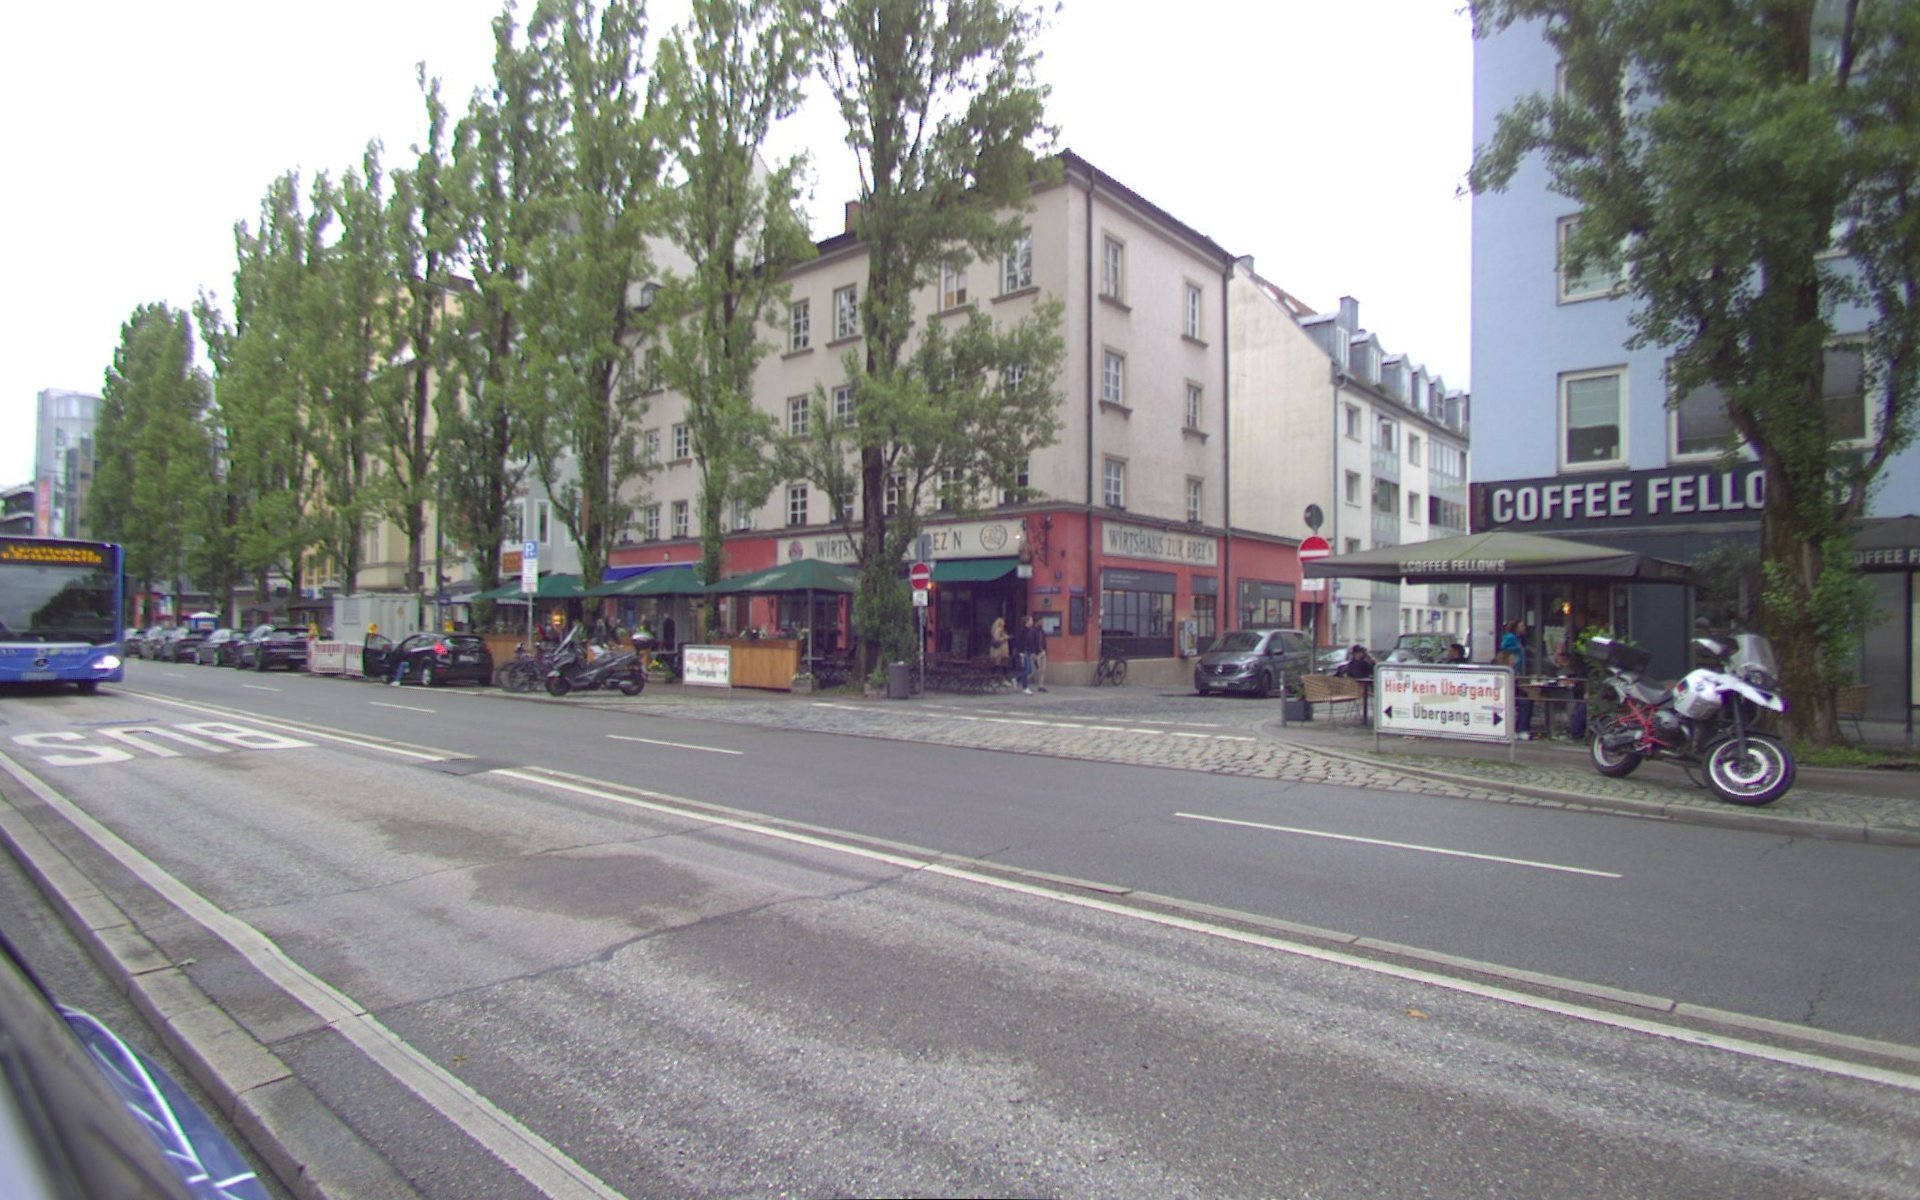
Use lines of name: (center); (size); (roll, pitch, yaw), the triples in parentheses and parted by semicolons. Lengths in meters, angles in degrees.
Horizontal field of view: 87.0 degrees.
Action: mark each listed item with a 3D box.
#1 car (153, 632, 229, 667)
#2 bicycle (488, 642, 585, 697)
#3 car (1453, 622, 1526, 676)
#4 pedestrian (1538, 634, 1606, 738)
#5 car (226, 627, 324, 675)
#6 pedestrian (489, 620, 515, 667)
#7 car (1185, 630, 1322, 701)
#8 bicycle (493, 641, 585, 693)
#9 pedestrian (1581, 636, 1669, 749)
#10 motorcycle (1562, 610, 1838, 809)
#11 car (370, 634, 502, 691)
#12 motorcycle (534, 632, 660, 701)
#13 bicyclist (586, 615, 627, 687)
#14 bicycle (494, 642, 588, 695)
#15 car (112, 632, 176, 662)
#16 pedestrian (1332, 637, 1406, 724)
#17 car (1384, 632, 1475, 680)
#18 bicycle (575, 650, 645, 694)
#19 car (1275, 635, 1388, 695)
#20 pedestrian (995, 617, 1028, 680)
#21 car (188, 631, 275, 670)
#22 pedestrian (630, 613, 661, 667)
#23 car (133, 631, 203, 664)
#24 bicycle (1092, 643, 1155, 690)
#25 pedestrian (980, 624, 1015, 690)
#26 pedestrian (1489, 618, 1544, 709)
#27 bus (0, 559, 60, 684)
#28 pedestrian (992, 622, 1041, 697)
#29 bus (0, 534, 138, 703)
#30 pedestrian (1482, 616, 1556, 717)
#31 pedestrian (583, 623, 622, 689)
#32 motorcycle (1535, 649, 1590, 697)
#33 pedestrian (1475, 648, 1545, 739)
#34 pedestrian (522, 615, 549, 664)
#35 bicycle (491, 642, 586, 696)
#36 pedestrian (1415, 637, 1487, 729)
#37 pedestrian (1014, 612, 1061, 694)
car: (-33.627, 2.129, 44.215); (4.572, 1.451, 1.778); (-2, -3, 42)
bicycle: (-9.329, 1.530, 22.345); (1.949, 1.134, 0.362); (-1, 0, -12)
car: (24.670, 2.299, 47.075); (1.982, 2.384, 4.523); (-2, -4, 42)
pedestrian: (8.421, 1.156, 13.920); (0.699, 1.373, 0.706); (-2, -3, 39)
car: (-24.382, 1.781, 35.962); (4.572, 1.625, 1.778); (-2, -3, 42)
pedestrian: (-19.267, 1.840, 42.597); (0.905, 1.941, 0.690); (-2, -3, 44)
car: (8.164, 1.779, 27.916); (1.982, 1.780, 4.525); (-1, -4, 40)
bicycle: (-9.812, 1.557, 23.634); (1.949, 1.134, 0.343); (-1, 0, -12)
pedestrian: (8.472, 1.142, 12.896); (0.847, 1.373, 0.690); (-2, -3, 40)
motorcycle: (6.608, 0.894, 9.257); (0.704, 1.575, 2.348); (-1, -1, -2)
car: (-14.173, 1.649, 27.309); (3.780, 1.433, 1.739); (-1, -3, 38)
motorcycle: (-7.668, 1.389, 21.413); (2.426, 1.425, 0.744); (0, -2, 8)
bicyclist: (-8.564, 1.224, 24.510); (0.816, 1.718, 0.598); (-1, -2, 42)
bicycle: (-9.484, 1.540, 22.952); (1.949, 1.134, 0.283); (-1, 0, -12)
car: (-41.757, 2.382, 51.761); (4.572, 1.451, 1.778); (-2, -3, 42)
pedestrian: (6.749, 1.301, 16.710); (0.950, 1.373, 0.690); (-2, -3, 44)
car: (18.565, 2.216, 39.912); (2.116, 1.780, 4.525); (-1, -4, 40)
bicycle: (-8.460, 1.711, 24.405); (2.173, 0.976, 0.605); (-2, -2, 42)
car: (11.932, 2.052, 32.370); (1.982, 1.780, 4.525); (-1, -4, 40)
pedestrian: (1.392, 1.309, 27.361); (0.694, 1.659, 0.924); (0, -2, 17)
car: (-28.776, 1.969, 39.918); (4.572, 1.451, 1.778); (-2, -3, 42)
pedestrian: (-11.500, 1.445, 37.007); (0.905, 1.941, 0.690); (-2, -3, 44)
car: (-37.445, 2.226, 47.835); (4.572, 1.515, 1.778); (-2, -3, 42)
bicycle: (4.454, 1.777, 27.415); (0.645, 1.214, 2.317); (-1, -3, 39)
pedestrian: (0.954, 1.433, 25.655); (0.726, 1.636, 0.695); (-1, -2, 20)
pedestrian: (11.308, 1.274, 20.591); (0.692, 1.786, 0.947); (0, -2, 10)
bus: (-26.702, 0.594, 27.052); (10.046, 2.972, 2.655); (-1, -2, 41)
pedestrian: (1.337, 1.401, 24.056); (0.950, 1.735, 0.690); (-2, -3, 44)
bus: (-20.271, 0.429, 21.464); (10.046, 2.972, 2.661); (-1, -2, 41)
pedestrian: (9.512, 1.118, 17.225); (0.950, 1.659, 0.690); (-2, -3, 43)
pedestrian: (-9.511, 1.476, 26.910); (0.700, 1.739, 0.721); (-2, -3, 43)
motorcycle: (16.361, 1.953, 27.454); (0.738, 1.213, 2.729); (-4, -5, 42)
pedestrian: (7.607, 1.267, 13.980); (0.699, 1.192, 0.807); (-2, -3, 39)
pedestrian: (-17.092, 1.574, 40.741); (0.905, 1.941, 0.690); (-2, -3, 44)
bicycle: (-9.424, 1.539, 22.674); (1.949, 1.134, 0.283); (-1, 0, -12)
pedestrian: (7.627, 1.262, 15.717); (0.819, 1.373, 0.690); (-2, -3, 44)
pedestrian: (1.876, 1.284, 24.597); (0.905, 1.941, 0.690); (-2, -3, 44)
